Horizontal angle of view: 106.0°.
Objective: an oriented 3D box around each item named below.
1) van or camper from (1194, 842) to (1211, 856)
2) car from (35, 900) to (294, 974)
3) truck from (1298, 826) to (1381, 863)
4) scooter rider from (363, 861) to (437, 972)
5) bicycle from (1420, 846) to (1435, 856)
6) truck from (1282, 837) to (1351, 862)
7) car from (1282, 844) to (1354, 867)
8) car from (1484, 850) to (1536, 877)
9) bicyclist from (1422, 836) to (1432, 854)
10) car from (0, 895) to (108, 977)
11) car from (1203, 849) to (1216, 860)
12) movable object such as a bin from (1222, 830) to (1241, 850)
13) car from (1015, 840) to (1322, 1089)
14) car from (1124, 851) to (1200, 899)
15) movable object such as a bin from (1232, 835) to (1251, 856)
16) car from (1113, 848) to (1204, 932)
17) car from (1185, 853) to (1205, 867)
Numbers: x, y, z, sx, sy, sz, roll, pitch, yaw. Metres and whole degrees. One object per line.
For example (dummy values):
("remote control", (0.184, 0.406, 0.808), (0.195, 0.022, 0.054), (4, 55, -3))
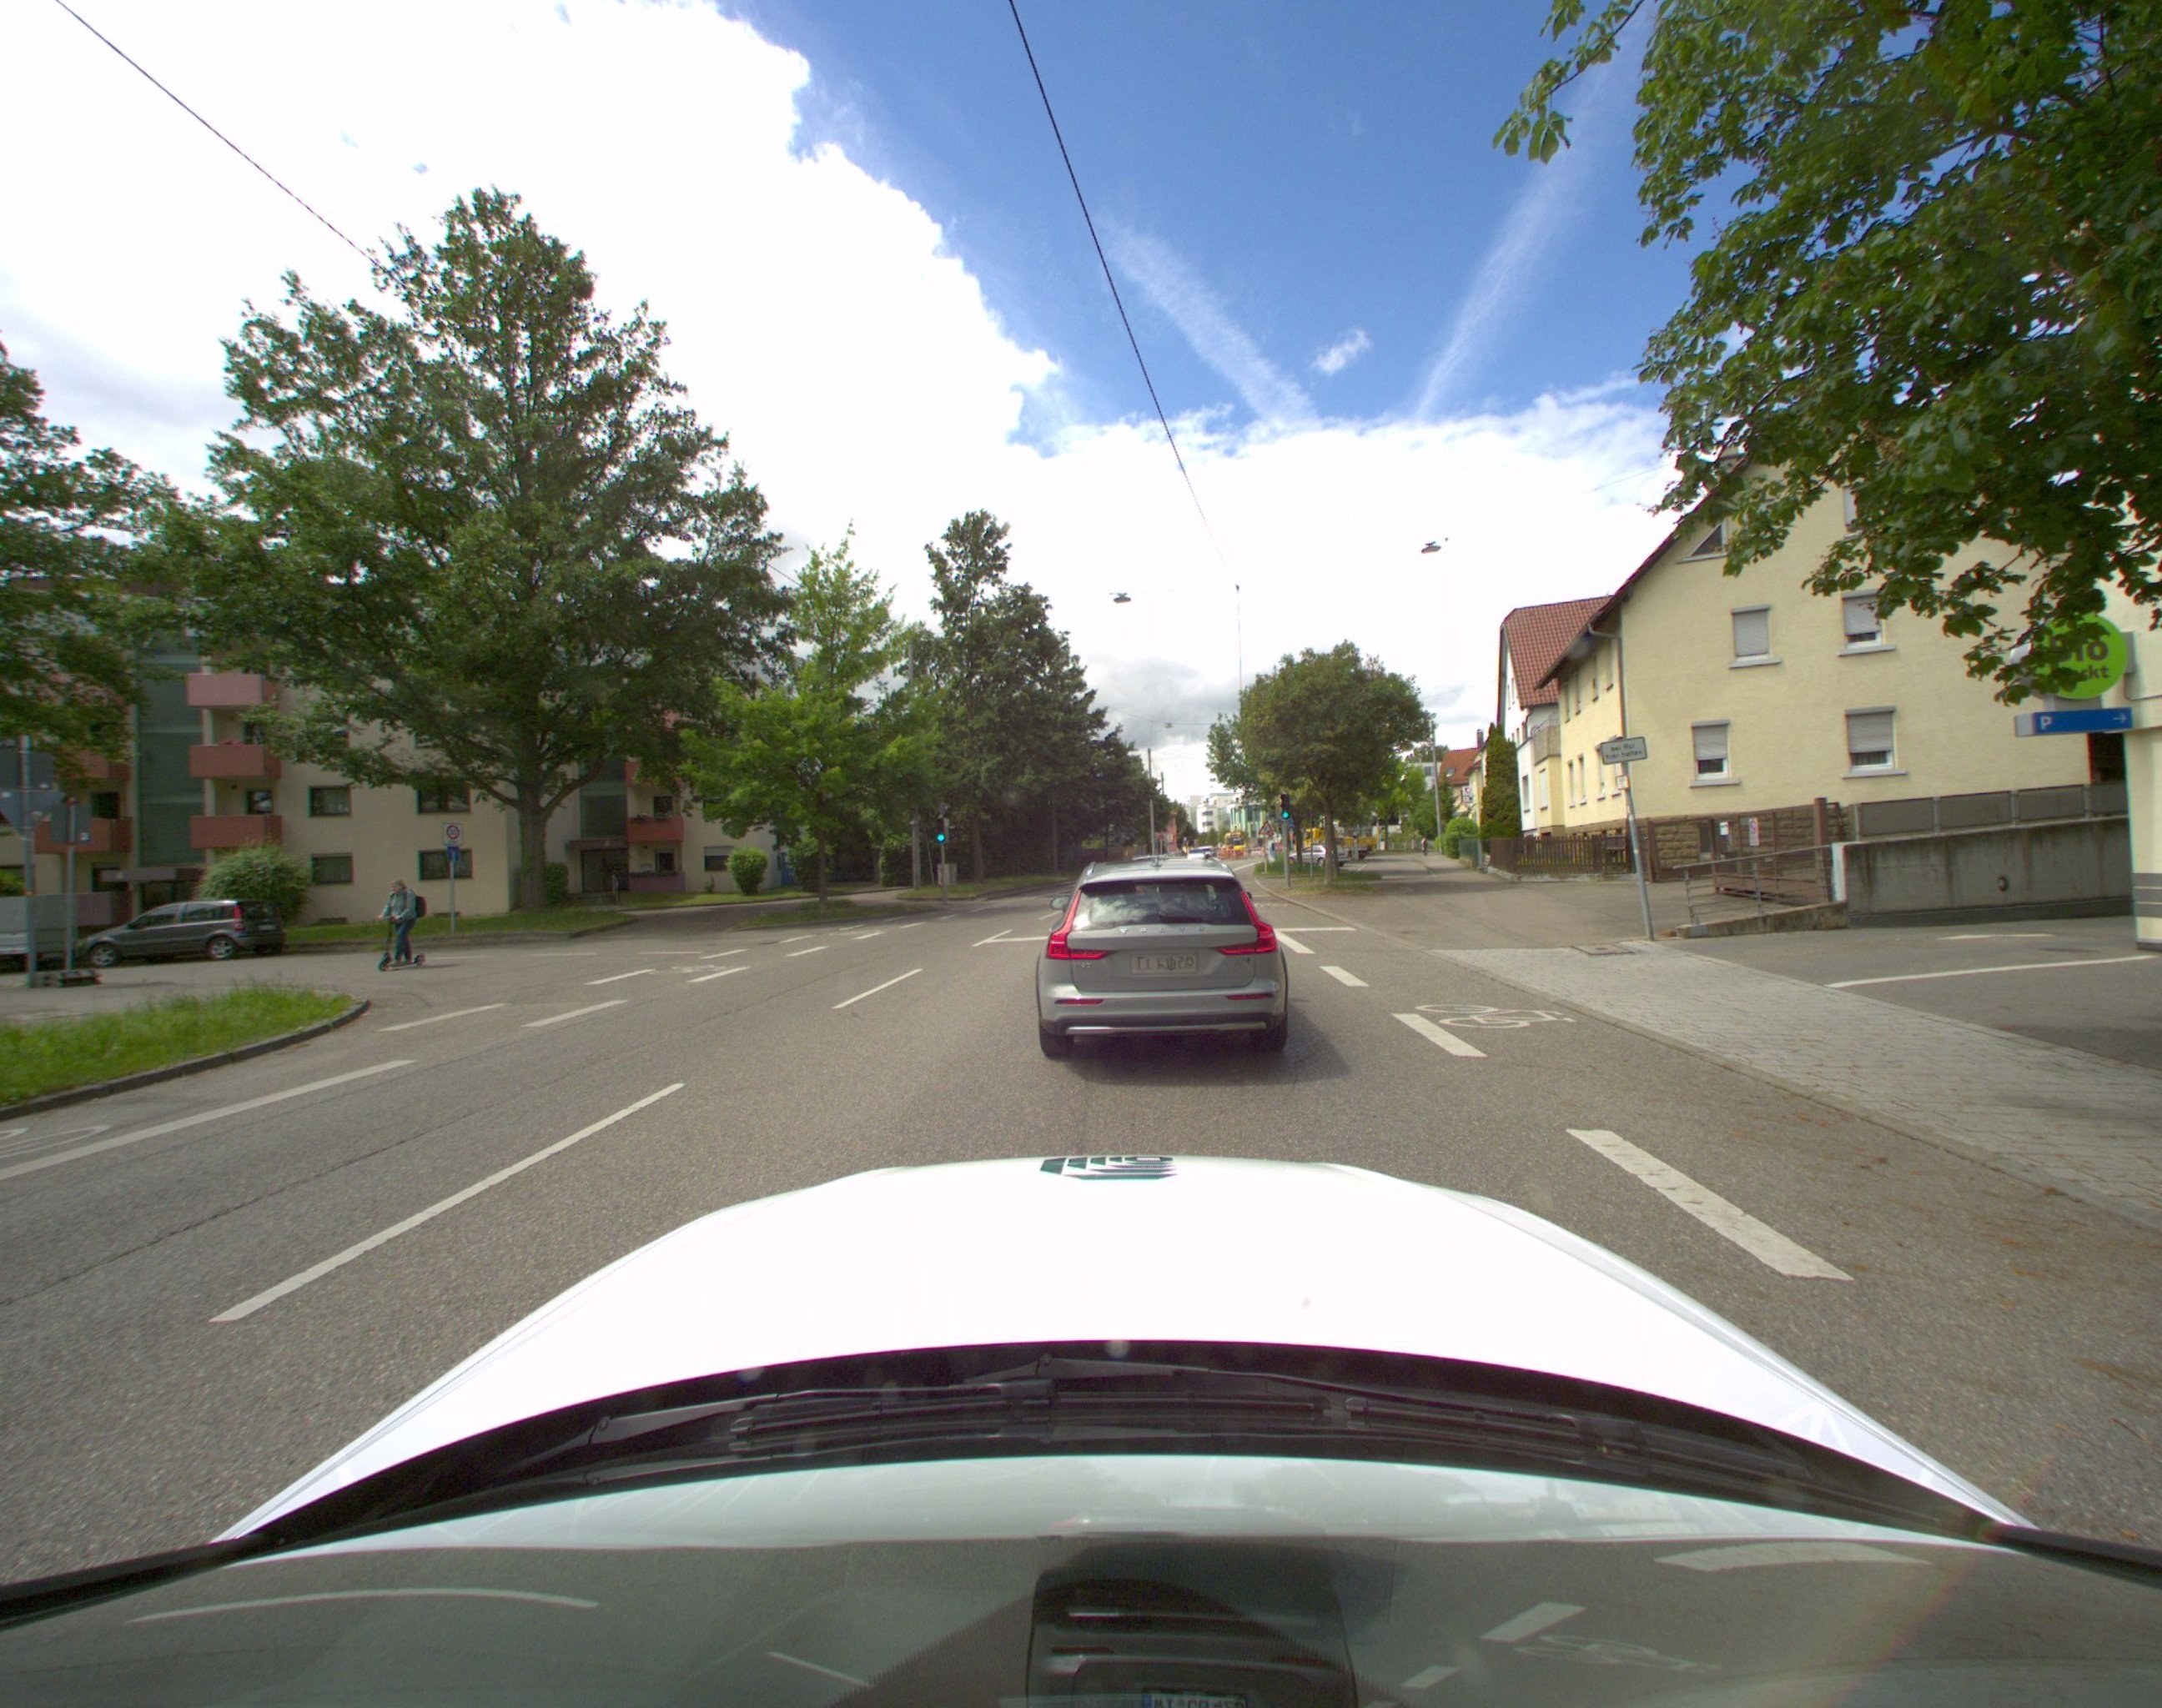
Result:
("van or camper", (16.480, -0.635, 110.433), (1.848, 1.776, 4.395), (-2, 0, 12))
("car", (-22.780, 2.009, 20.432), (3.995, 1.452, 1.687), (-3, -1, -16))
("truck", (22.204, -0.769, 70.322), (2.780, 3.008, 6.639), (0, -1, -32))
("scooter rider", (-12.694, 1.138, 15.201), (0.674, 2.014, 0.794), (0, -1, 1))
("bicycle", (30.061, -0.244, 70.730), (0.592, 0.812, 1.754), (0, 0, 1))
("truck", (19.753, -0.353, 68.505), (2.008, 2.014, 5.617), (0, -1, -34))
("car", (15.656, 0.102, 53.981), (1.773, 1.451, 4.644), (-2, 0, -30))
("car", (19.325, 0.433, 36.809), (1.450, 1.124, 3.890), (0, -1, 18))
("bicyclist", (30.062, -0.797, 70.772), (0.587, 1.559, 0.567), (0, -1, 1))
("car", (-27.053, 2.122, 19.819), (3.990, 1.844, 1.838), (-5, -3, -12))
("car", (21.476, 0.041, 135.988), (1.983, 1.737, 4.007), (0, -1, 6))
("movable object such as a bin", (24.356, -2.186, 132.107), (2.299, 2.990, 6.436), (-3, 0, 5))
("car", (0.650, 0.700, 7.259), (1.920, 1.540, 4.003), (-2, 0, 2))
("car", (2.869, 0.694, 27.943), (2.088, 1.510, 4.014), (-1, -1, 13))
("movable object such as a bin", (21.492, -1.095, 108.835), (2.020, 2.642, 5.961), (-3, 0, 13))
("car", (1.564, 0.677, 16.680), (1.653, 1.508, 3.707), (0, -1, 5))
("car", (11.570, 0.629, 82.399), (1.816, 1.330, 4.012), (0, -2, 11))
